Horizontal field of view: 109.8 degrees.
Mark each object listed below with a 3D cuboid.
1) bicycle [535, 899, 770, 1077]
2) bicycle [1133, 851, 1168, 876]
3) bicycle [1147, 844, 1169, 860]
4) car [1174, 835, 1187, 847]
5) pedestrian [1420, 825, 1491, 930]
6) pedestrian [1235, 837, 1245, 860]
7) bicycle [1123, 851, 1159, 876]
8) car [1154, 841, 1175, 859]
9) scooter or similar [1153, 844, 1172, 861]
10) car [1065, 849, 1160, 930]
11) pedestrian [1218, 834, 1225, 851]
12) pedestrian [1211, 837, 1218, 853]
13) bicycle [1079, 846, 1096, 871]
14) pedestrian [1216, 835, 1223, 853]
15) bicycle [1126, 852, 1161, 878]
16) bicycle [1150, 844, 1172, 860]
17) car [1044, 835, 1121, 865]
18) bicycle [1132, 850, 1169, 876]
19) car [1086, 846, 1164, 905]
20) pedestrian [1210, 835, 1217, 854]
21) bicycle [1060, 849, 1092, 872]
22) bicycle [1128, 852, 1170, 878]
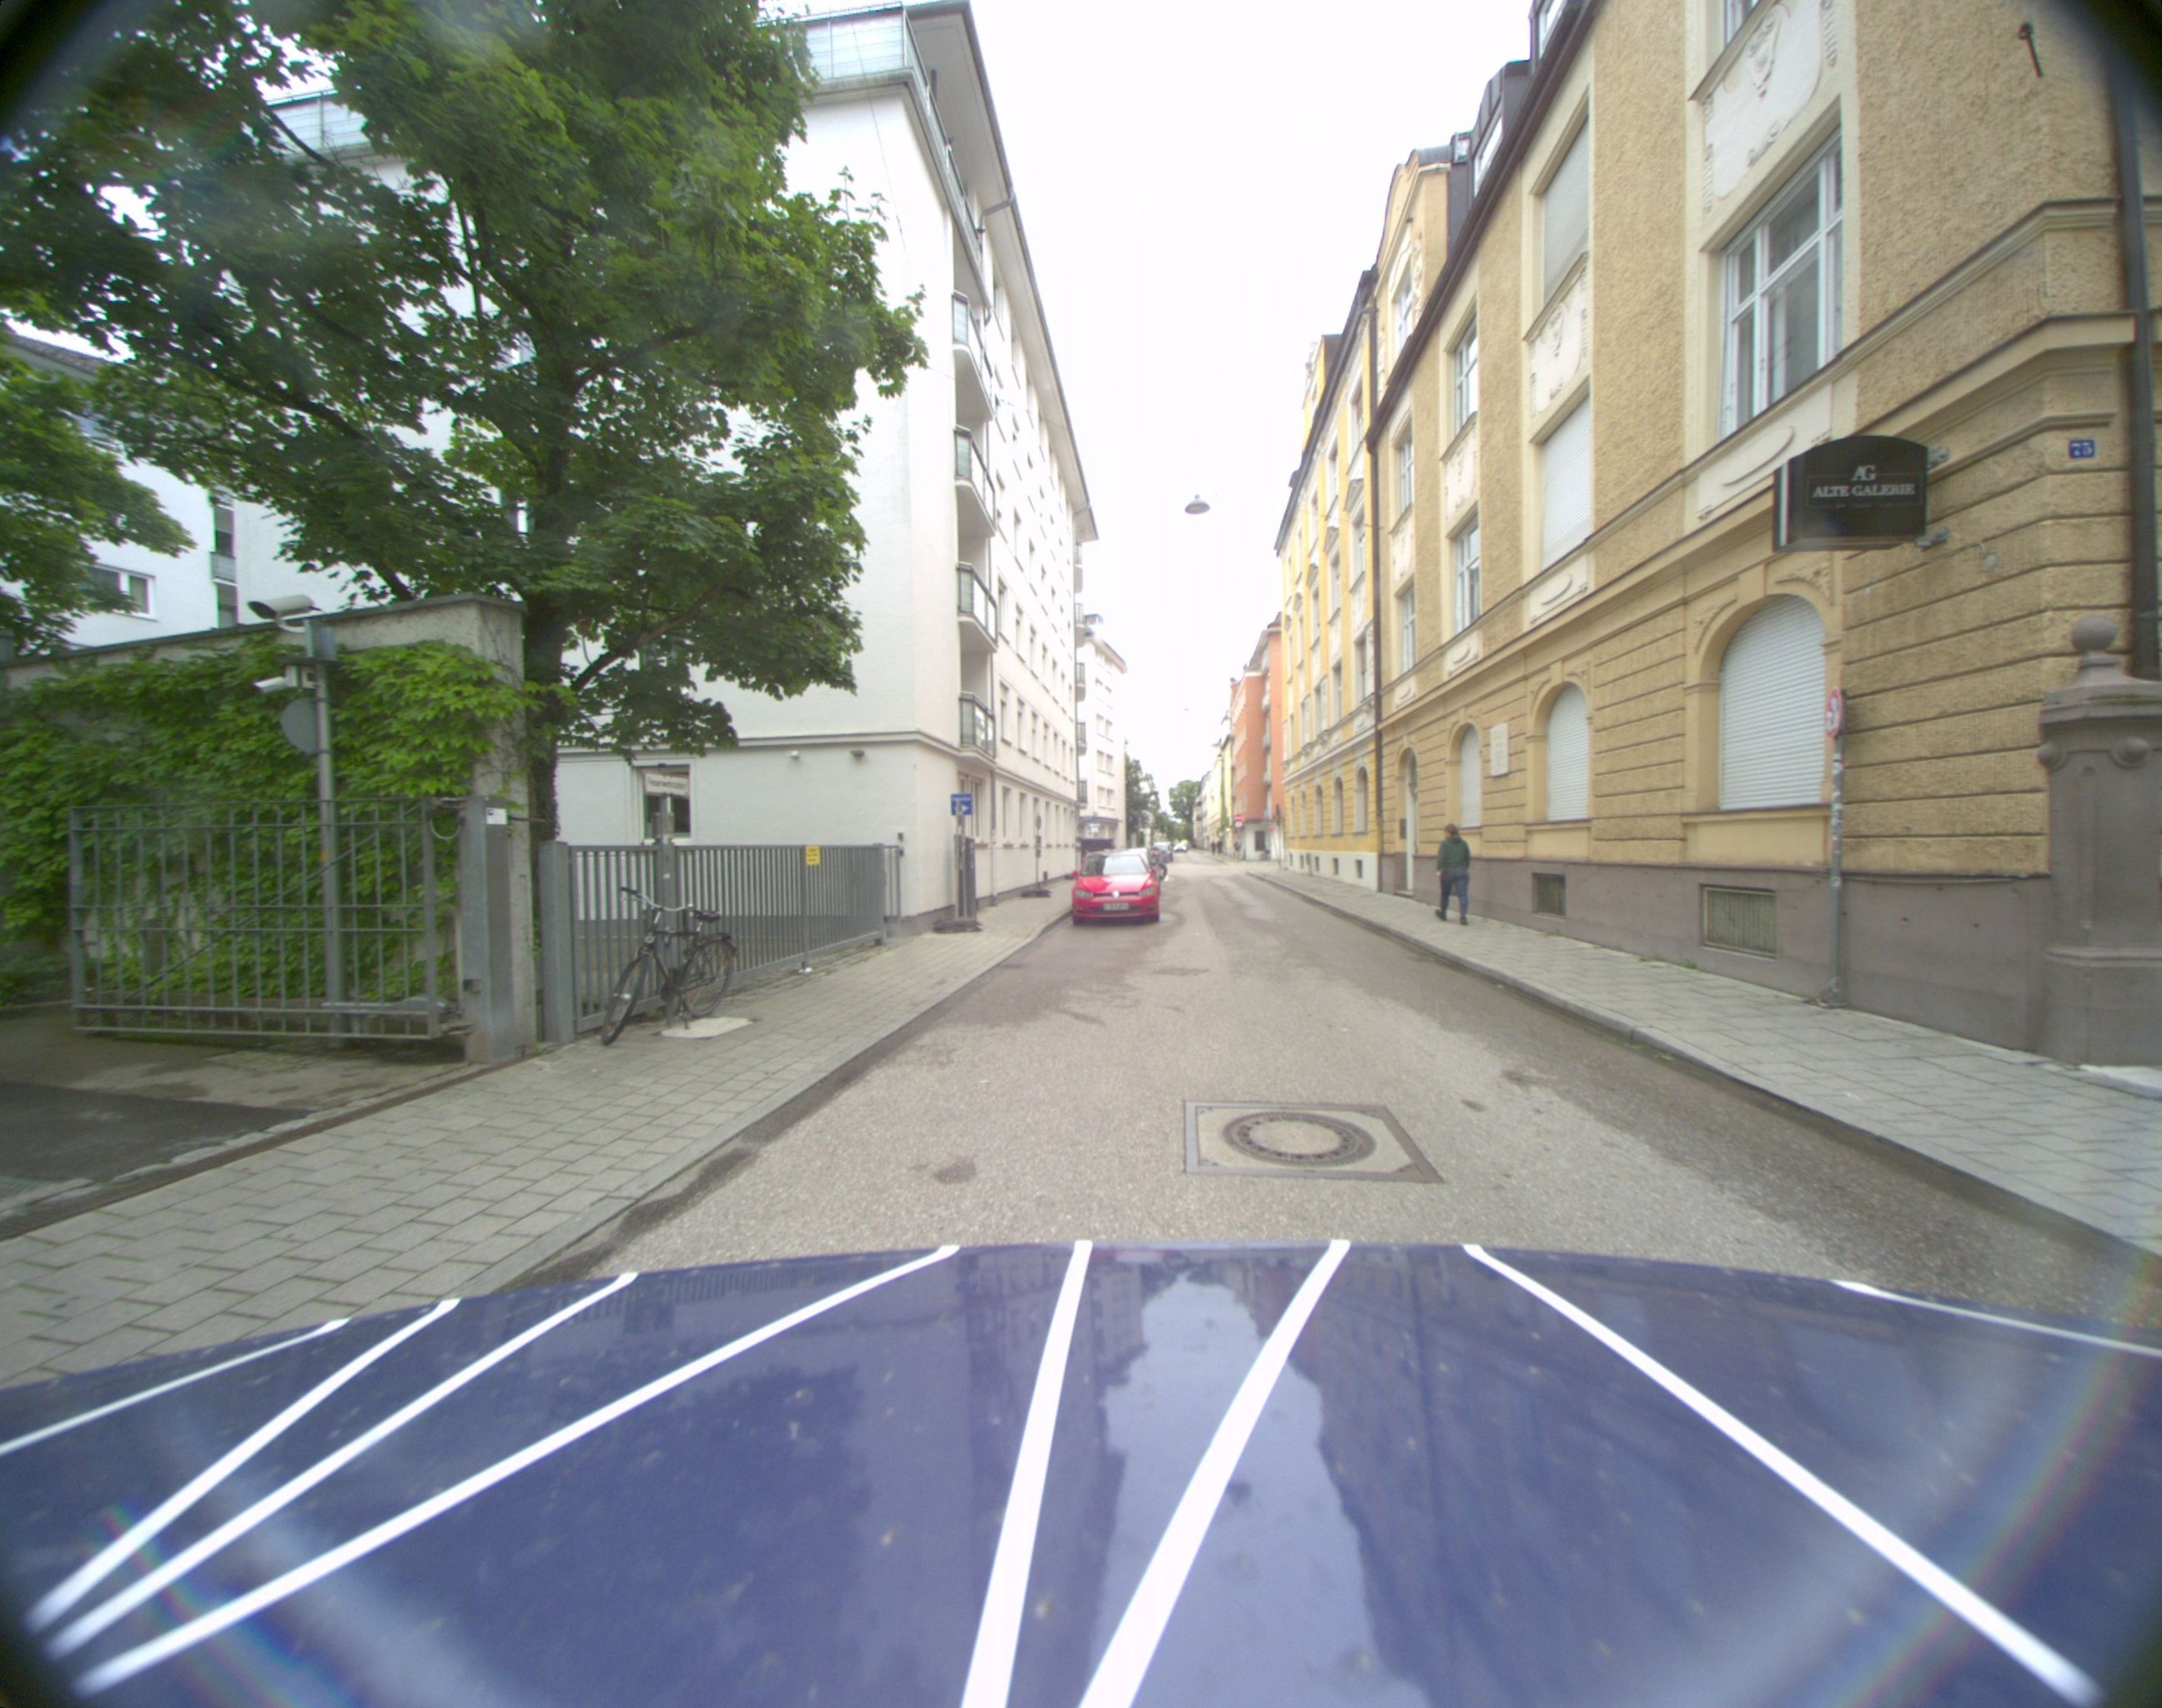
[{"bbox_3d":[-3.396,0.991,6.260,0.709,1.191,1.835,-1,-2,8],"label":"bicycle"},{"bbox_3d":[3.054,0.423,33.363,1.440,1.038,0.360,2,2,15],"label":"bicycle"},{"bbox_3d":[5.767,-0.167,56.985,1.607,1.207,0.529,0,2,10],"label":"bicycle"},{"bbox_3d":[14.893,-1.977,113.846,1.928,1.795,4.445,-1,1,7],"label":"car"},{"bbox_3d":[6.288,0.378,12.802,0.714,1.656,0.930,-4,1,7],"label":"pedestrian"},{"bbox_3d":[11.956,-0.402,57.159,0.612,1.684,0.566,-1,2,6],"label":"pedestrian"},{"bbox_3d":[2.606,0.425,33.078,1.519,1.038,0.360,2,2,15],"label":"bicycle"},{"bbox_3d":[6.914,-0.383,62.713,1.653,1.391,4.001,-1,1,7],"label":"car"},{"bbox_3d":[5.906,-0.118,54.955,1.340,1.207,0.345,0,2,10],"label":"scooter or similar"},{"bbox_3d":[0.656,0.679,16.767,1.765,1.438,4.298,-2,1,1],"label":"car"},{"bbox_3d":[15.219,-1.231,82.563,0.699,1.783,0.764,0,2,8],"label":"pedestrian"},{"bbox_3d":[14.462,-0.979,82.516,0.725,1.783,0.830,0,2,7],"label":"pedestrian"},{"bbox_3d":[0.304,0.231,38.108,0.399,1.198,1.503,0,2,-17],"label":"bicycle"},{"bbox_3d":[15.089,-1.102,82.723,0.634,2.002,0.788,0,1,8],"label":"pedestrian"},{"bbox_3d":[2.635,0.450,32.155,1.437,1.038,0.330,2,2,15],"label":"bicycle"},{"bbox_3d":[5.927,-0.154,56.389,1.607,1.207,0.529,0,2,10],"label":"bicycle"},{"bbox_3d":[0.128,-0.277,49.649,4.673,1.880,1.936,0,1,15],"label":"car"},{"bbox_3d":[3.209,0.401,35.027,1.698,1.154,0.378,-1,2,6],"label":"bicycle"},{"bbox_3d":[1.370,0.550,22.002,1.798,1.430,4.385,-2,1,8],"label":"car"},{"bbox_3d":[14.417,-1.018,82.729,0.634,2.002,0.788,0,1,8],"label":"pedestrian"},{"bbox_3d":[-0.243,0.306,36.313,1.502,1.038,0.398,1,2,-11],"label":"bicycle"},{"bbox_3d":[2.823,0.461,31.662,1.706,1.038,0.360,1,2,8],"label":"bicycle"}]
